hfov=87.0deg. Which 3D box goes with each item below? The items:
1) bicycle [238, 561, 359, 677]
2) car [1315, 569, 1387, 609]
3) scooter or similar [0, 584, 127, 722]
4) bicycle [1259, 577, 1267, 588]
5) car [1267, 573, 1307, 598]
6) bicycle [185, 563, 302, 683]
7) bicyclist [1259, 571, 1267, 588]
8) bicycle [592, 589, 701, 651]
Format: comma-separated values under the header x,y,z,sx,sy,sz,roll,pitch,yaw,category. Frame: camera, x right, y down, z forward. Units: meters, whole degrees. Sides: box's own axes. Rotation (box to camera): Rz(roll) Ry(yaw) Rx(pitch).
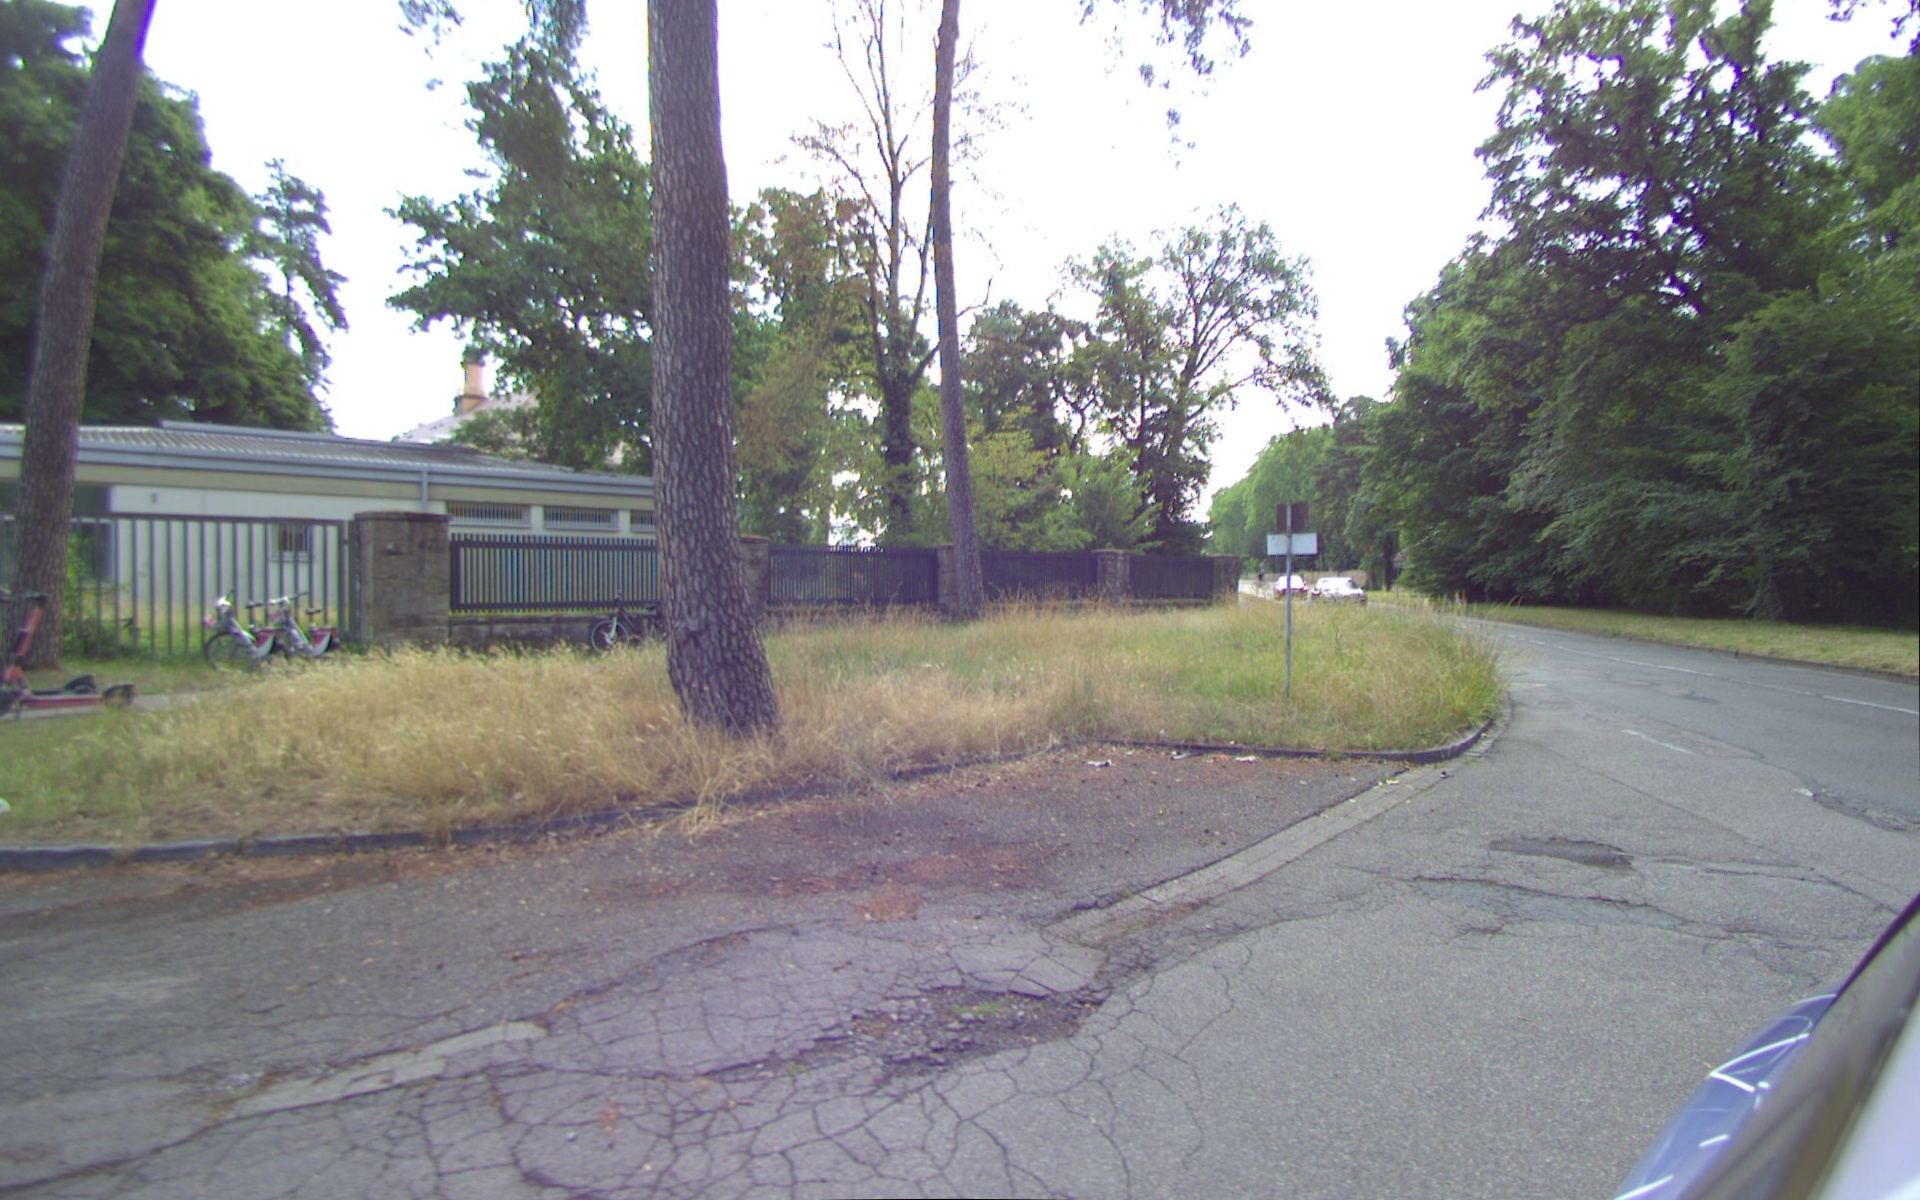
x,y,z,sx,sy,sz,roll,pitch,yaw,category
-8.767,0.212,13.387,1.967,1.434,0.572,1,2,32,bicycle
15.877,-0.406,41.329,1.936,1.483,4.513,-2,-1,11,car
-8.788,0.488,9.757,0.436,1.243,1.074,-1,2,42,scooter or similar
29.260,-1.687,97.682,0.551,1.086,2.149,1,1,12,bicycle
19.836,-0.899,61.570,1.970,1.482,4.188,0,2,13,car
-9.158,0.255,12.922,1.785,1.434,0.582,2,2,32,bicycle
29.285,-2.016,97.794,0.563,1.608,1.201,1,1,13,bicyclist
-5.627,0.341,18.258,1.921,1.029,0.372,-2,2,-44,bicycle
